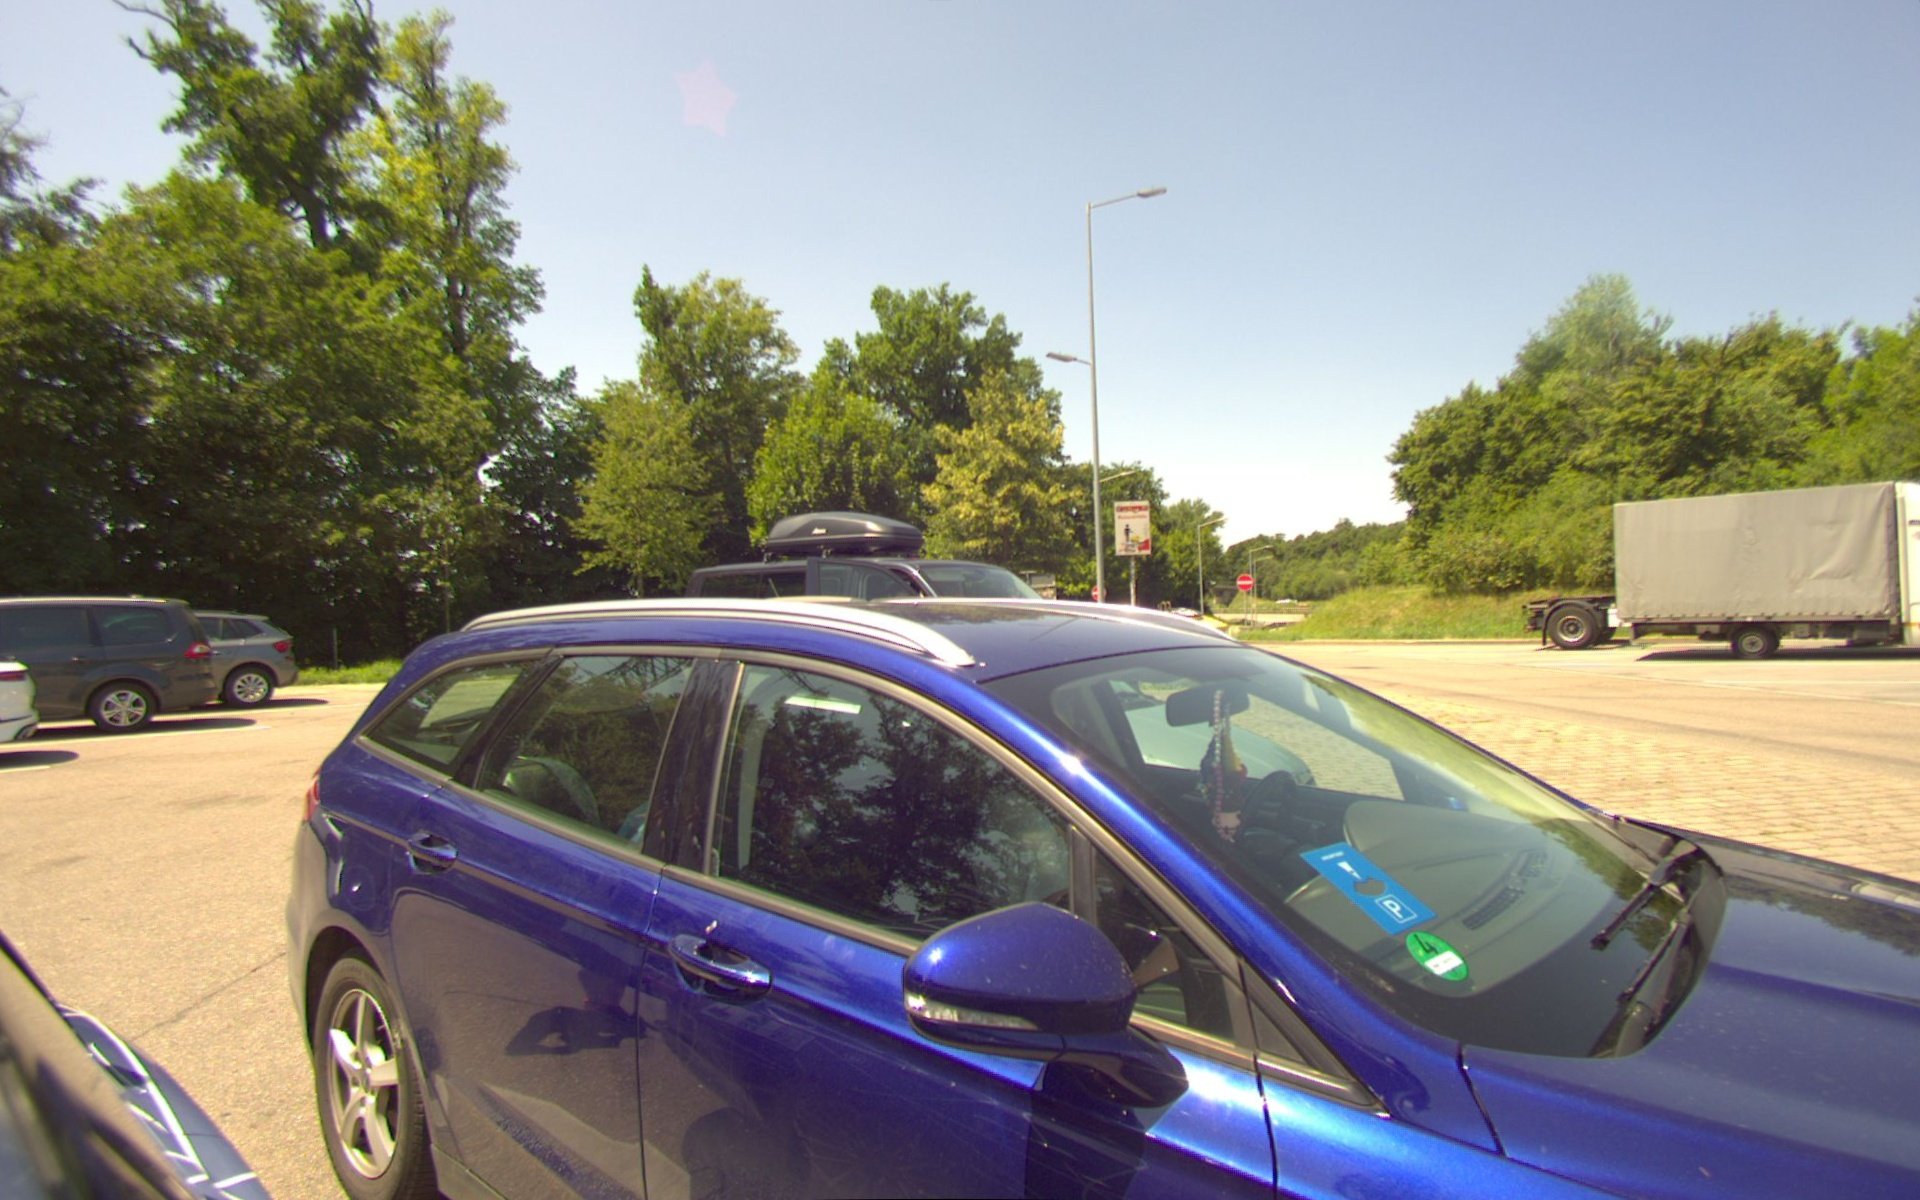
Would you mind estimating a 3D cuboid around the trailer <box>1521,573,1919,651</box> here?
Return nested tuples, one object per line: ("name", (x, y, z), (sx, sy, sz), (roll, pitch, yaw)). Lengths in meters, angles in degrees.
("trailer", (17.634, 0.309, 23.154), (8.088, 1.385, 2.200), (-4, -1, 41))

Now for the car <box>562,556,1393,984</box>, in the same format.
("car", (-0.219, 0.672, 5.787), (4.637, 1.545, 1.720), (-2, 0, 39))

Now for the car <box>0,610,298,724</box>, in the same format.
("car", (-12.596, 0.954, 15.706), (3.762, 1.551, 1.724), (0, -1, -38))

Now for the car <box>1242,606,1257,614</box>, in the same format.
("car", (64.050, 2.210, 223.754), (1.871, 1.623, 3.655), (-1, -1, -6))

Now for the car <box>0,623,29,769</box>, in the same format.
("car", (-10.999, 0.932, 9.161), (3.767, 1.396, 1.722), (0, -1, -43))

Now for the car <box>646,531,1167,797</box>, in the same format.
("car", (-0.662, 0.510, 9.360), (4.635, 1.884, 1.937), (-2, 0, 37))

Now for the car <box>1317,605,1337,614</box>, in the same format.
("car", (66.558, 1.682, 183.415), (1.871, 1.623, 3.655), (-1, -1, -6))

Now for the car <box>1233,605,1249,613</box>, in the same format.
("car", (57.198, 1.794, 206.209), (1.871, 1.623, 3.655), (-1, -1, -6))

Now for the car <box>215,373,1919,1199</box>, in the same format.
("car", (0.243, 0.635, 2.075), (4.637, 1.493, 1.720), (-2, -1, 39))

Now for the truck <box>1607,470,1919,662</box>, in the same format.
("truck", (16.705, -0.603, 18.933), (7.337, 3.235, 2.502), (-4, -1, 41))

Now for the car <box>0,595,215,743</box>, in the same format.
("car", (-11.658, 0.821, 12.625), (3.762, 1.737, 1.724), (0, -1, -38))
